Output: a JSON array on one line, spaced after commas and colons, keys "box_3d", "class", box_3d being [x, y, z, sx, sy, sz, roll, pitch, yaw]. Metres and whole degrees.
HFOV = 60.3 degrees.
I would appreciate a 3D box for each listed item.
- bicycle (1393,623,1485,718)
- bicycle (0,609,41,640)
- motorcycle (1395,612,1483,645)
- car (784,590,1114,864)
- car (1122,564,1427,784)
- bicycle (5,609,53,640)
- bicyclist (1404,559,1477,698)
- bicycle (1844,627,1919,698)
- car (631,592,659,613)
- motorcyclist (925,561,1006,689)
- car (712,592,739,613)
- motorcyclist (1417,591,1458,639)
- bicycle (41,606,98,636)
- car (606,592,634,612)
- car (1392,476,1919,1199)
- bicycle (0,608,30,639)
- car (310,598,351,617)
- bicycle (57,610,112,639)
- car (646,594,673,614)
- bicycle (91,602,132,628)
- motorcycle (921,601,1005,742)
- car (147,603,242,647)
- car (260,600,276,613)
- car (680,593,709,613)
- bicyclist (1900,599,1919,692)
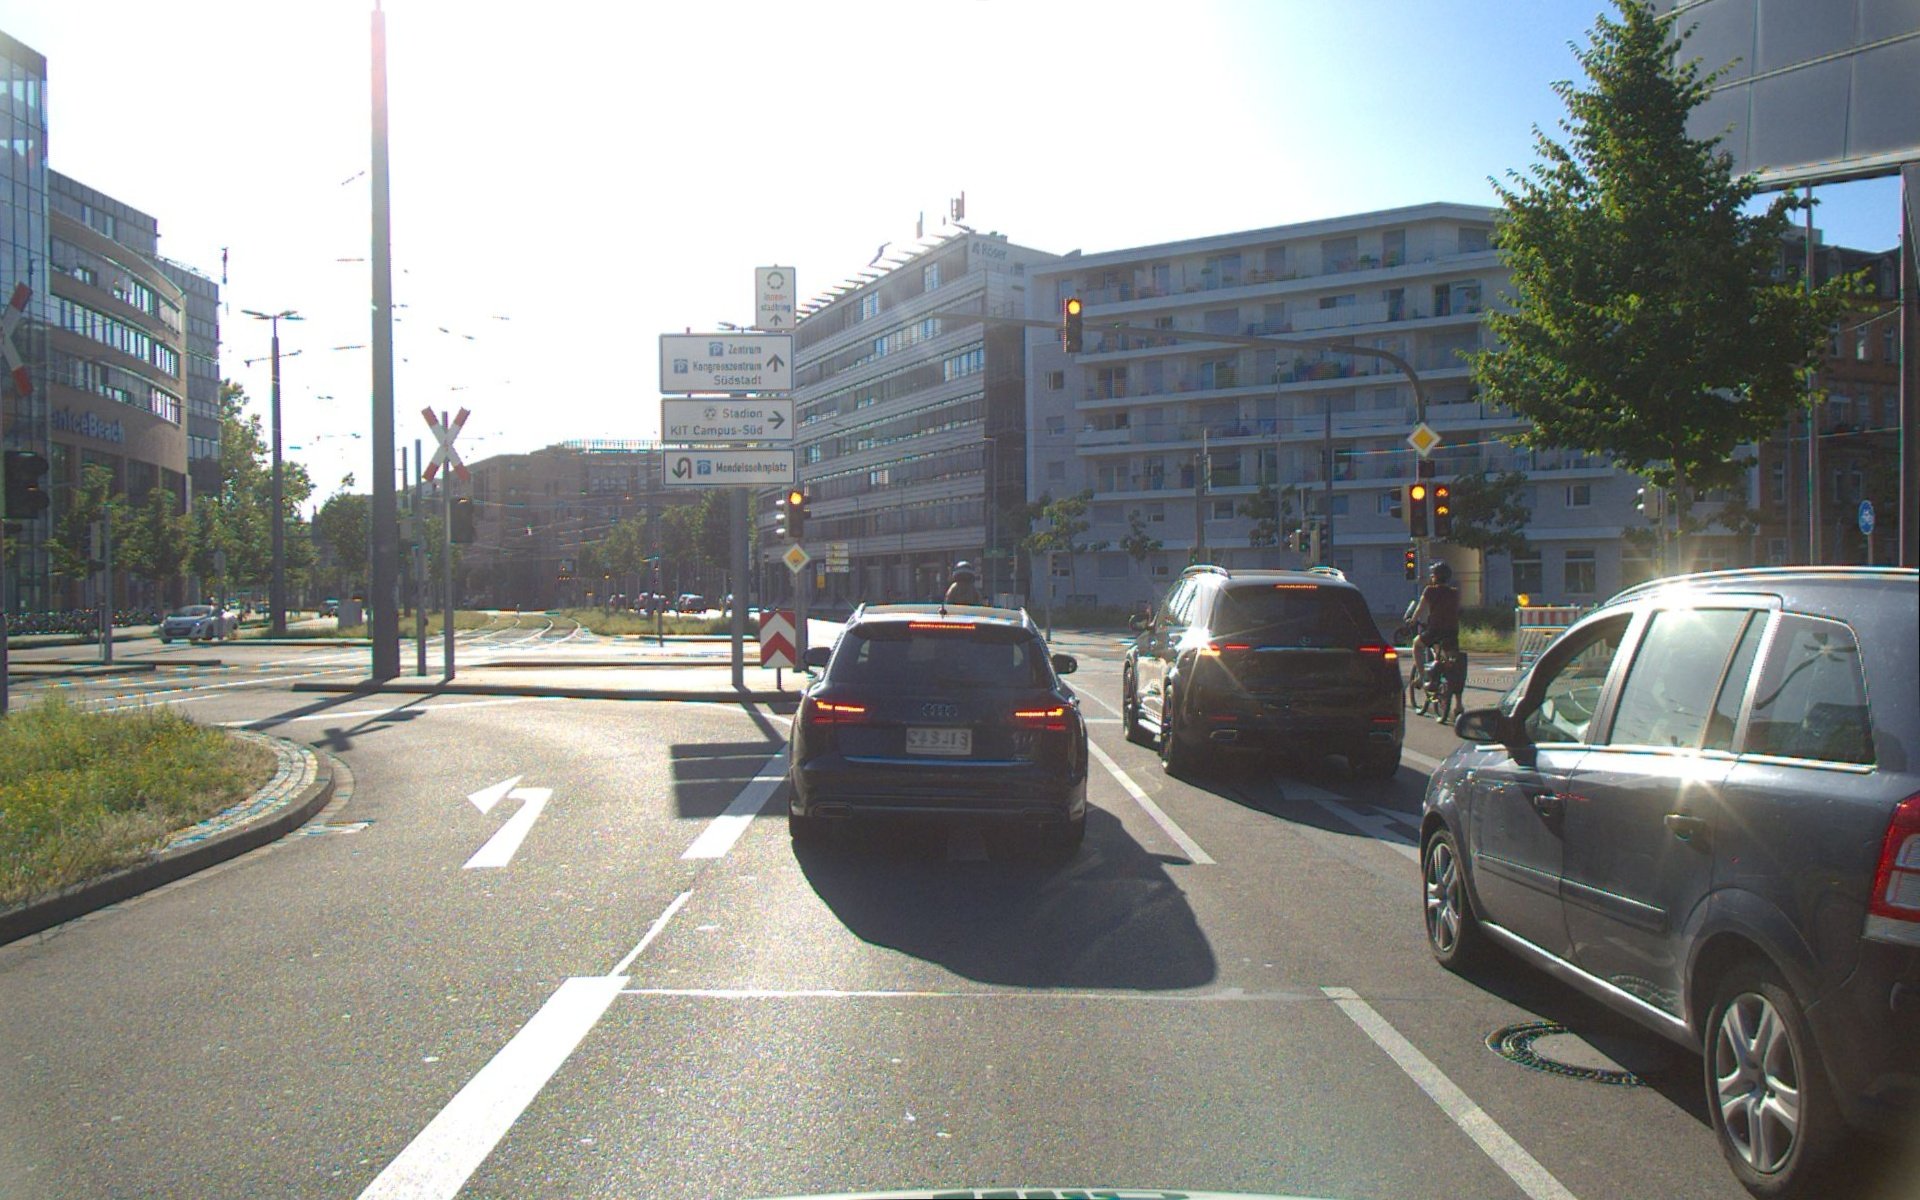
[{"box_3d": [5.860, 0.842, 20.322, 0.640, 1.061, 1.930, -1, 1, 2], "class": "bicycle"}, {"box_3d": [-46.058, 1.199, 80.643, 2.039, 1.458, 0.861, -2, -1, 8], "class": "bicycle"}, {"box_3d": [15.186, 0.896, 52.480, 2.404, 1.018, 1.171, -1, 0, -3], "class": "motorcycle"}, {"box_3d": [-0.092, 0.693, 11.177, 1.805, 1.479, 3.999, 1, 0, -1], "class": "car"}, {"box_3d": [2.763, 0.581, 15.555, 1.962, 1.745, 4.372, 1, 0, -1], "class": "car"}, {"box_3d": [-46.026, 1.222, 81.774, 1.935, 1.458, 0.807, -2, -1, 8], "class": "bicycle"}, {"box_3d": [5.893, 0.337, 20.320, 0.640, 1.671, 0.972, -1, 0, 2], "class": "bicyclist"}, {"box_3d": [18.099, 1.185, 31.598, 0.757, 1.284, 2.062, -1, 0, -29], "class": "bicycle"}, {"box_3d": [-28.745, 0.233, 150.670, 1.963, 1.736, 3.978, -1, -1, -19], "class": "car"}, {"box_3d": [0.058, 0.265, 17.857, 0.845, 1.349, 0.681, -1, 0, -1], "class": "motorcyclist"}, {"box_3d": [-21.778, 0.226, 153.788, 1.961, 1.870, 3.983, -1, -1, -16], "class": "car"}, {"box_3d": [15.134, 0.469, 52.477, 0.906, 1.507, 1.171, -1, 0, -3], "class": "motorcyclist"}, {"box_3d": [-46.052, 1.070, 85.558, 2.507, 1.458, 0.905, -2, -1, 8], "class": "bicycle"}, {"box_3d": [-30.765, 0.175, 149.610, 1.963, 1.736, 3.978, -1, -1, -19], "class": "car"}, {"box_3d": [2.876, 0.620, 5.473, 1.710, 1.725, 4.260, 2, 0, -1], "class": "car"}, {"box_3d": [-46.205, 1.153, 79.589, 2.319, 1.458, 1.077, -2, -1, 8], "class": "bicycle"}, {"box_3d": [-56.720, 0.683, 149.090, 3.280, 1.616, 1.654, -1, 0, 24], "class": "car"}, {"box_3d": [-46.476, 1.282, 87.801, 2.507, 1.458, 0.905, -2, -1, 8], "class": "bicycle"}, {"box_3d": [-26.210, 0.336, 144.158, 1.961, 1.624, 3.983, -1, -1, -16], "class": "car"}, {"box_3d": [-50.535, 0.881, 98.508, 2.092, 1.458, 0.759, -2, -1, 8], "class": "bicycle"}, {"box_3d": [0.021, 0.725, 17.719, 0.845, 1.417, 1.893, -1, 0, -1], "class": "motorcycle"}, {"box_3d": [-29.796, 0.939, 64.553, 1.955, 1.572, 4.524, -1, 0, -6], "class": "car"}, {"box_3d": [-86.401, 0.853, 206.548, 1.630, 1.616, 3.328, -1, 0, -28], "class": "car"}, {"box_3d": [-22.780, 0.274, 141.811, 1.962, 1.624, 3.980, -1, -1, -17], "class": "car"}, {"box_3d": [18.370, 0.859, 31.115, 0.757, 1.736, 0.921, -1, 0, -29], "class": "bicyclist"}]
